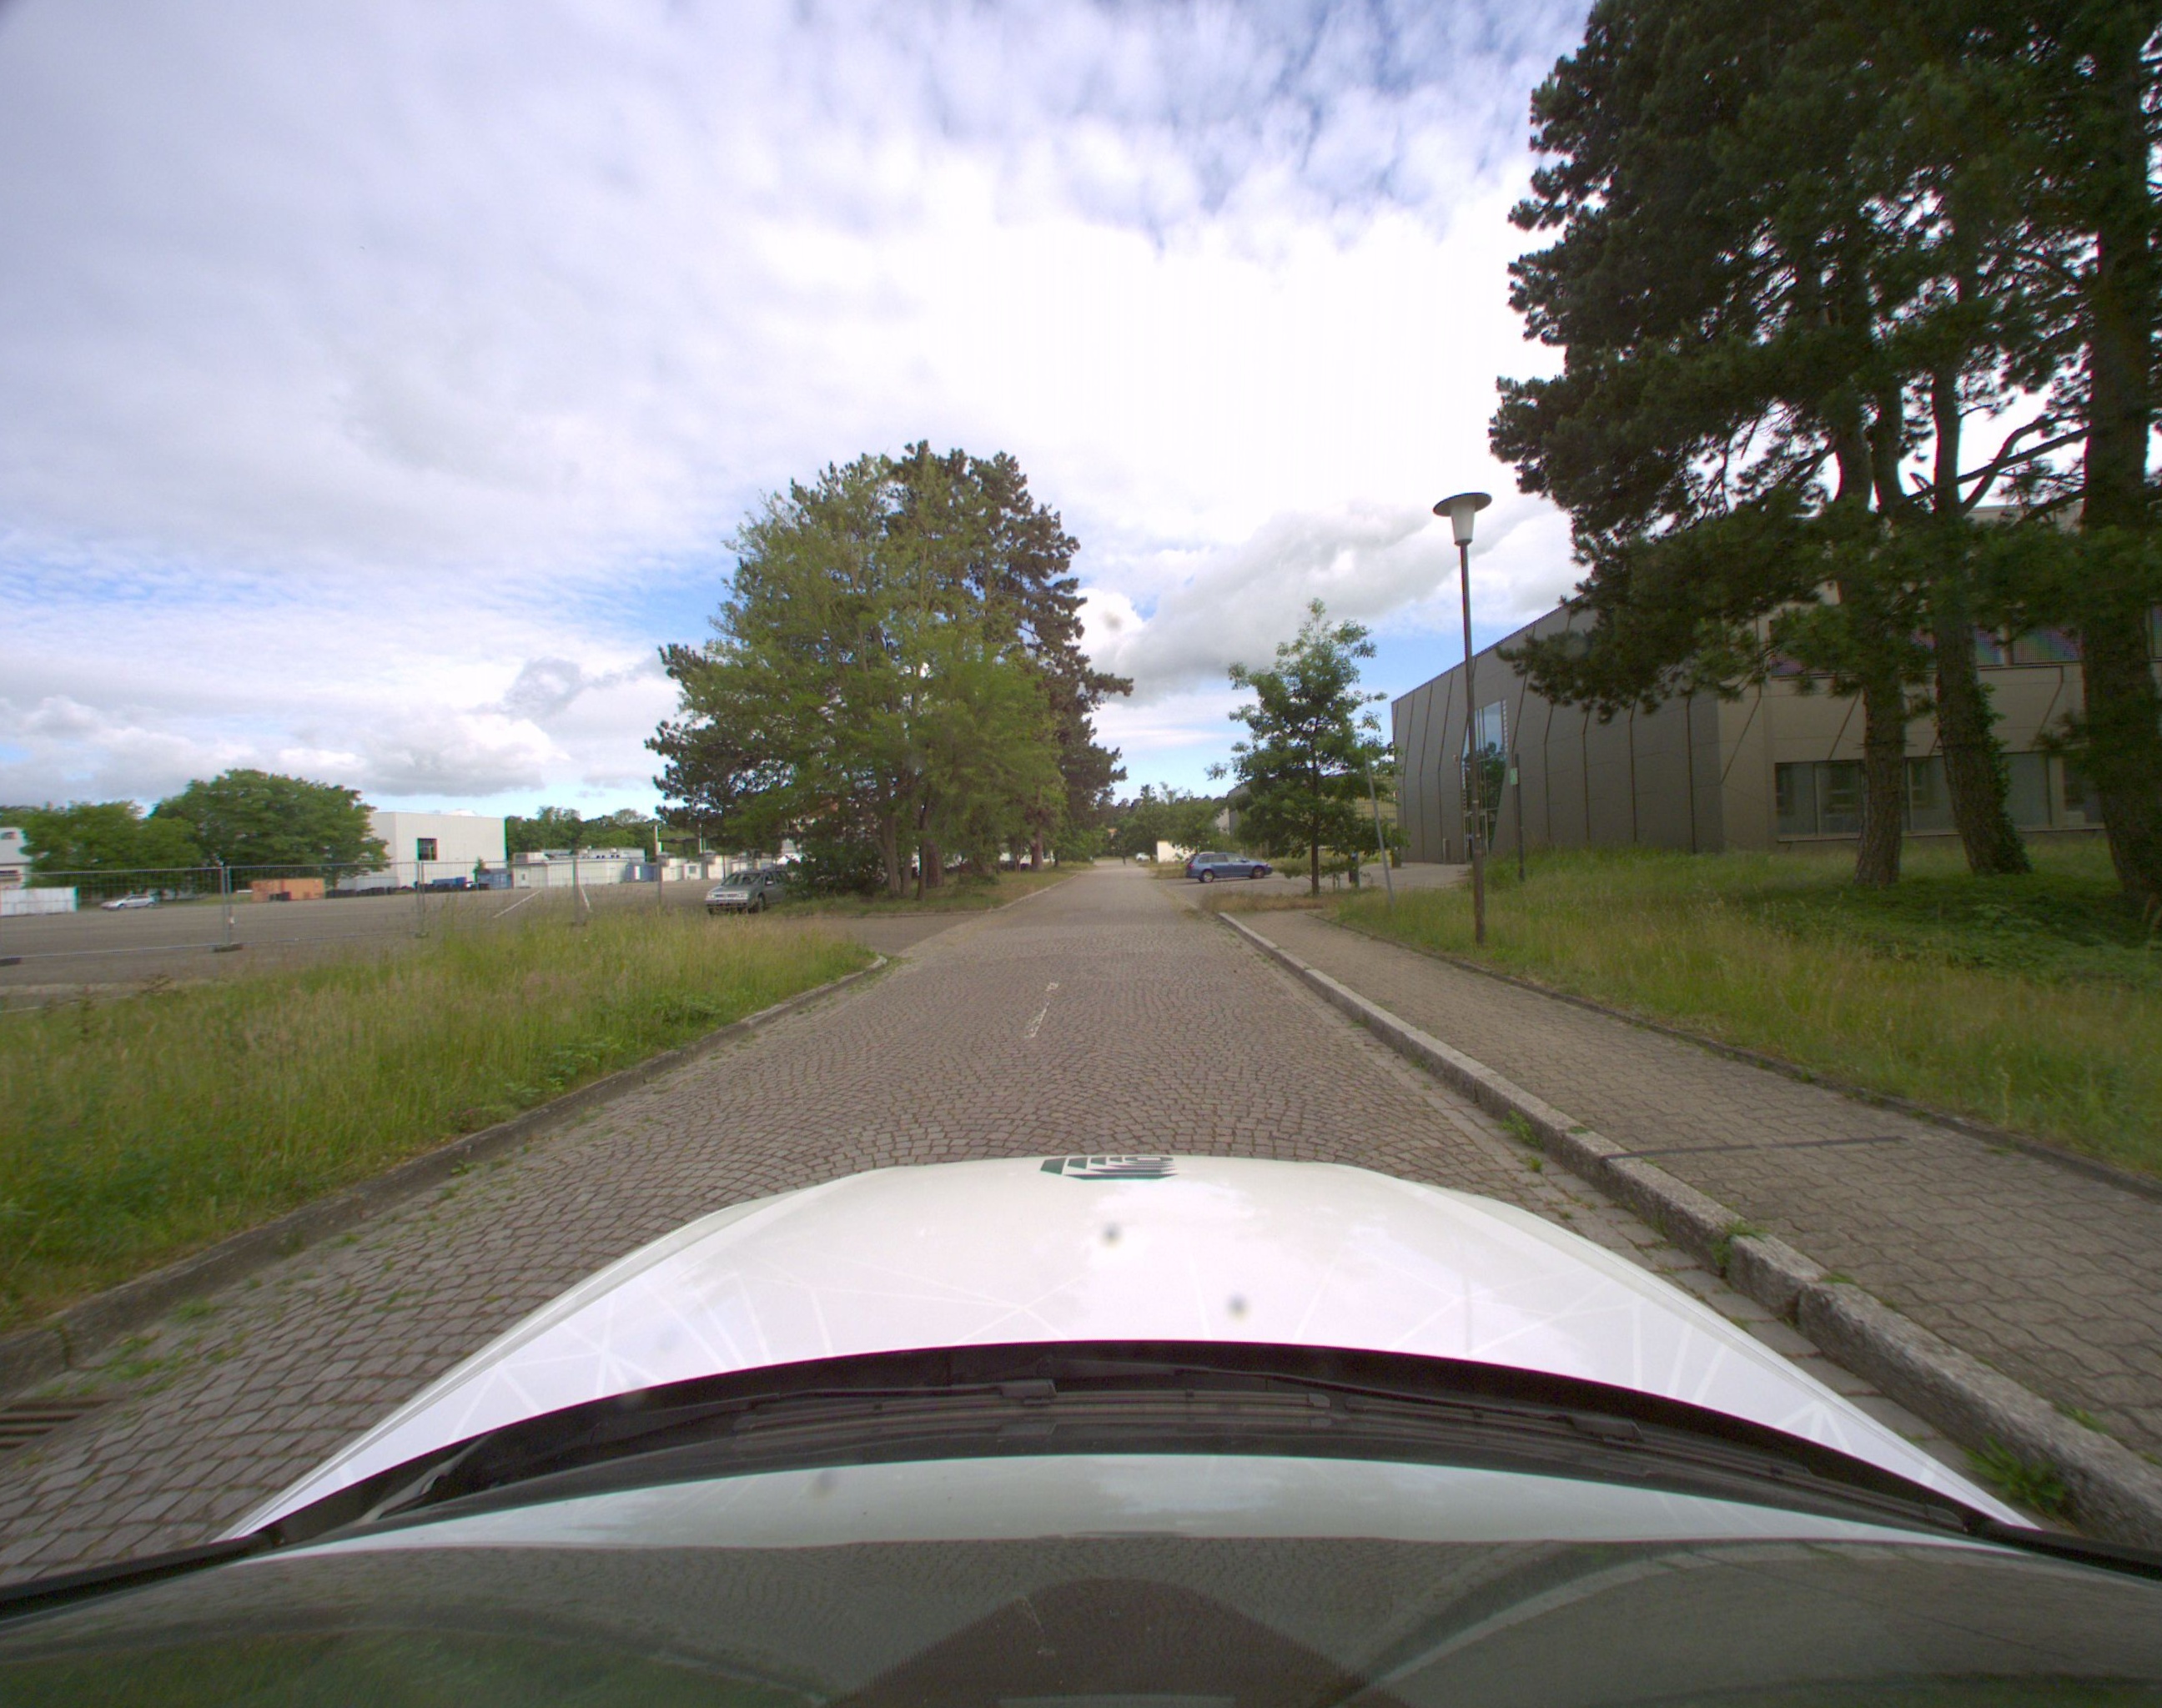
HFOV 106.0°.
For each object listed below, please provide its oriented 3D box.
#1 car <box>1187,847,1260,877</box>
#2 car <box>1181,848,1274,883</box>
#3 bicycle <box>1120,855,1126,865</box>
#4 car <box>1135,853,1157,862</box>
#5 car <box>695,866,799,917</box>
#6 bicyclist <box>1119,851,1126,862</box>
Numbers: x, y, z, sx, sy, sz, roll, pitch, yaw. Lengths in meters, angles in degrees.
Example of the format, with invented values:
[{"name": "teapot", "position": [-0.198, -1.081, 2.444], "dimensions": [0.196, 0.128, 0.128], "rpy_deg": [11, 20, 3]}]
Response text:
[{"name": "car", "position": [8.689, 0.486, 49.978], "dimensions": [4.094, 1.572, 1.765], "rpy_deg": [-4, 0, 0]}, {"name": "car", "position": [7.588, 0.590, 42.554], "dimensions": [4.466, 1.462, 1.934], "rpy_deg": [-4, 0, 0]}, {"name": "bicycle", "position": [6.071, 0.805, 118.553], "dimensions": [0.820, 1.376, 2.043], "rpy_deg": [-2, 1, 2]}, {"name": "car", "position": [13.019, 0.640, 162.333], "dimensions": [4.303, 1.549, 2.002], "rpy_deg": [-2, 0, 3]}, {"name": "car", "position": [-11.539, 1.252, 28.457], "dimensions": [1.723, 1.432, 4.164], "rpy_deg": [-2, 1, 2]}, {"name": "bicyclist", "position": [6.059, 0.393, 118.560], "dimensions": [0.894, 1.542, 0.868], "rpy_deg": [-2, 1, 1]}]
